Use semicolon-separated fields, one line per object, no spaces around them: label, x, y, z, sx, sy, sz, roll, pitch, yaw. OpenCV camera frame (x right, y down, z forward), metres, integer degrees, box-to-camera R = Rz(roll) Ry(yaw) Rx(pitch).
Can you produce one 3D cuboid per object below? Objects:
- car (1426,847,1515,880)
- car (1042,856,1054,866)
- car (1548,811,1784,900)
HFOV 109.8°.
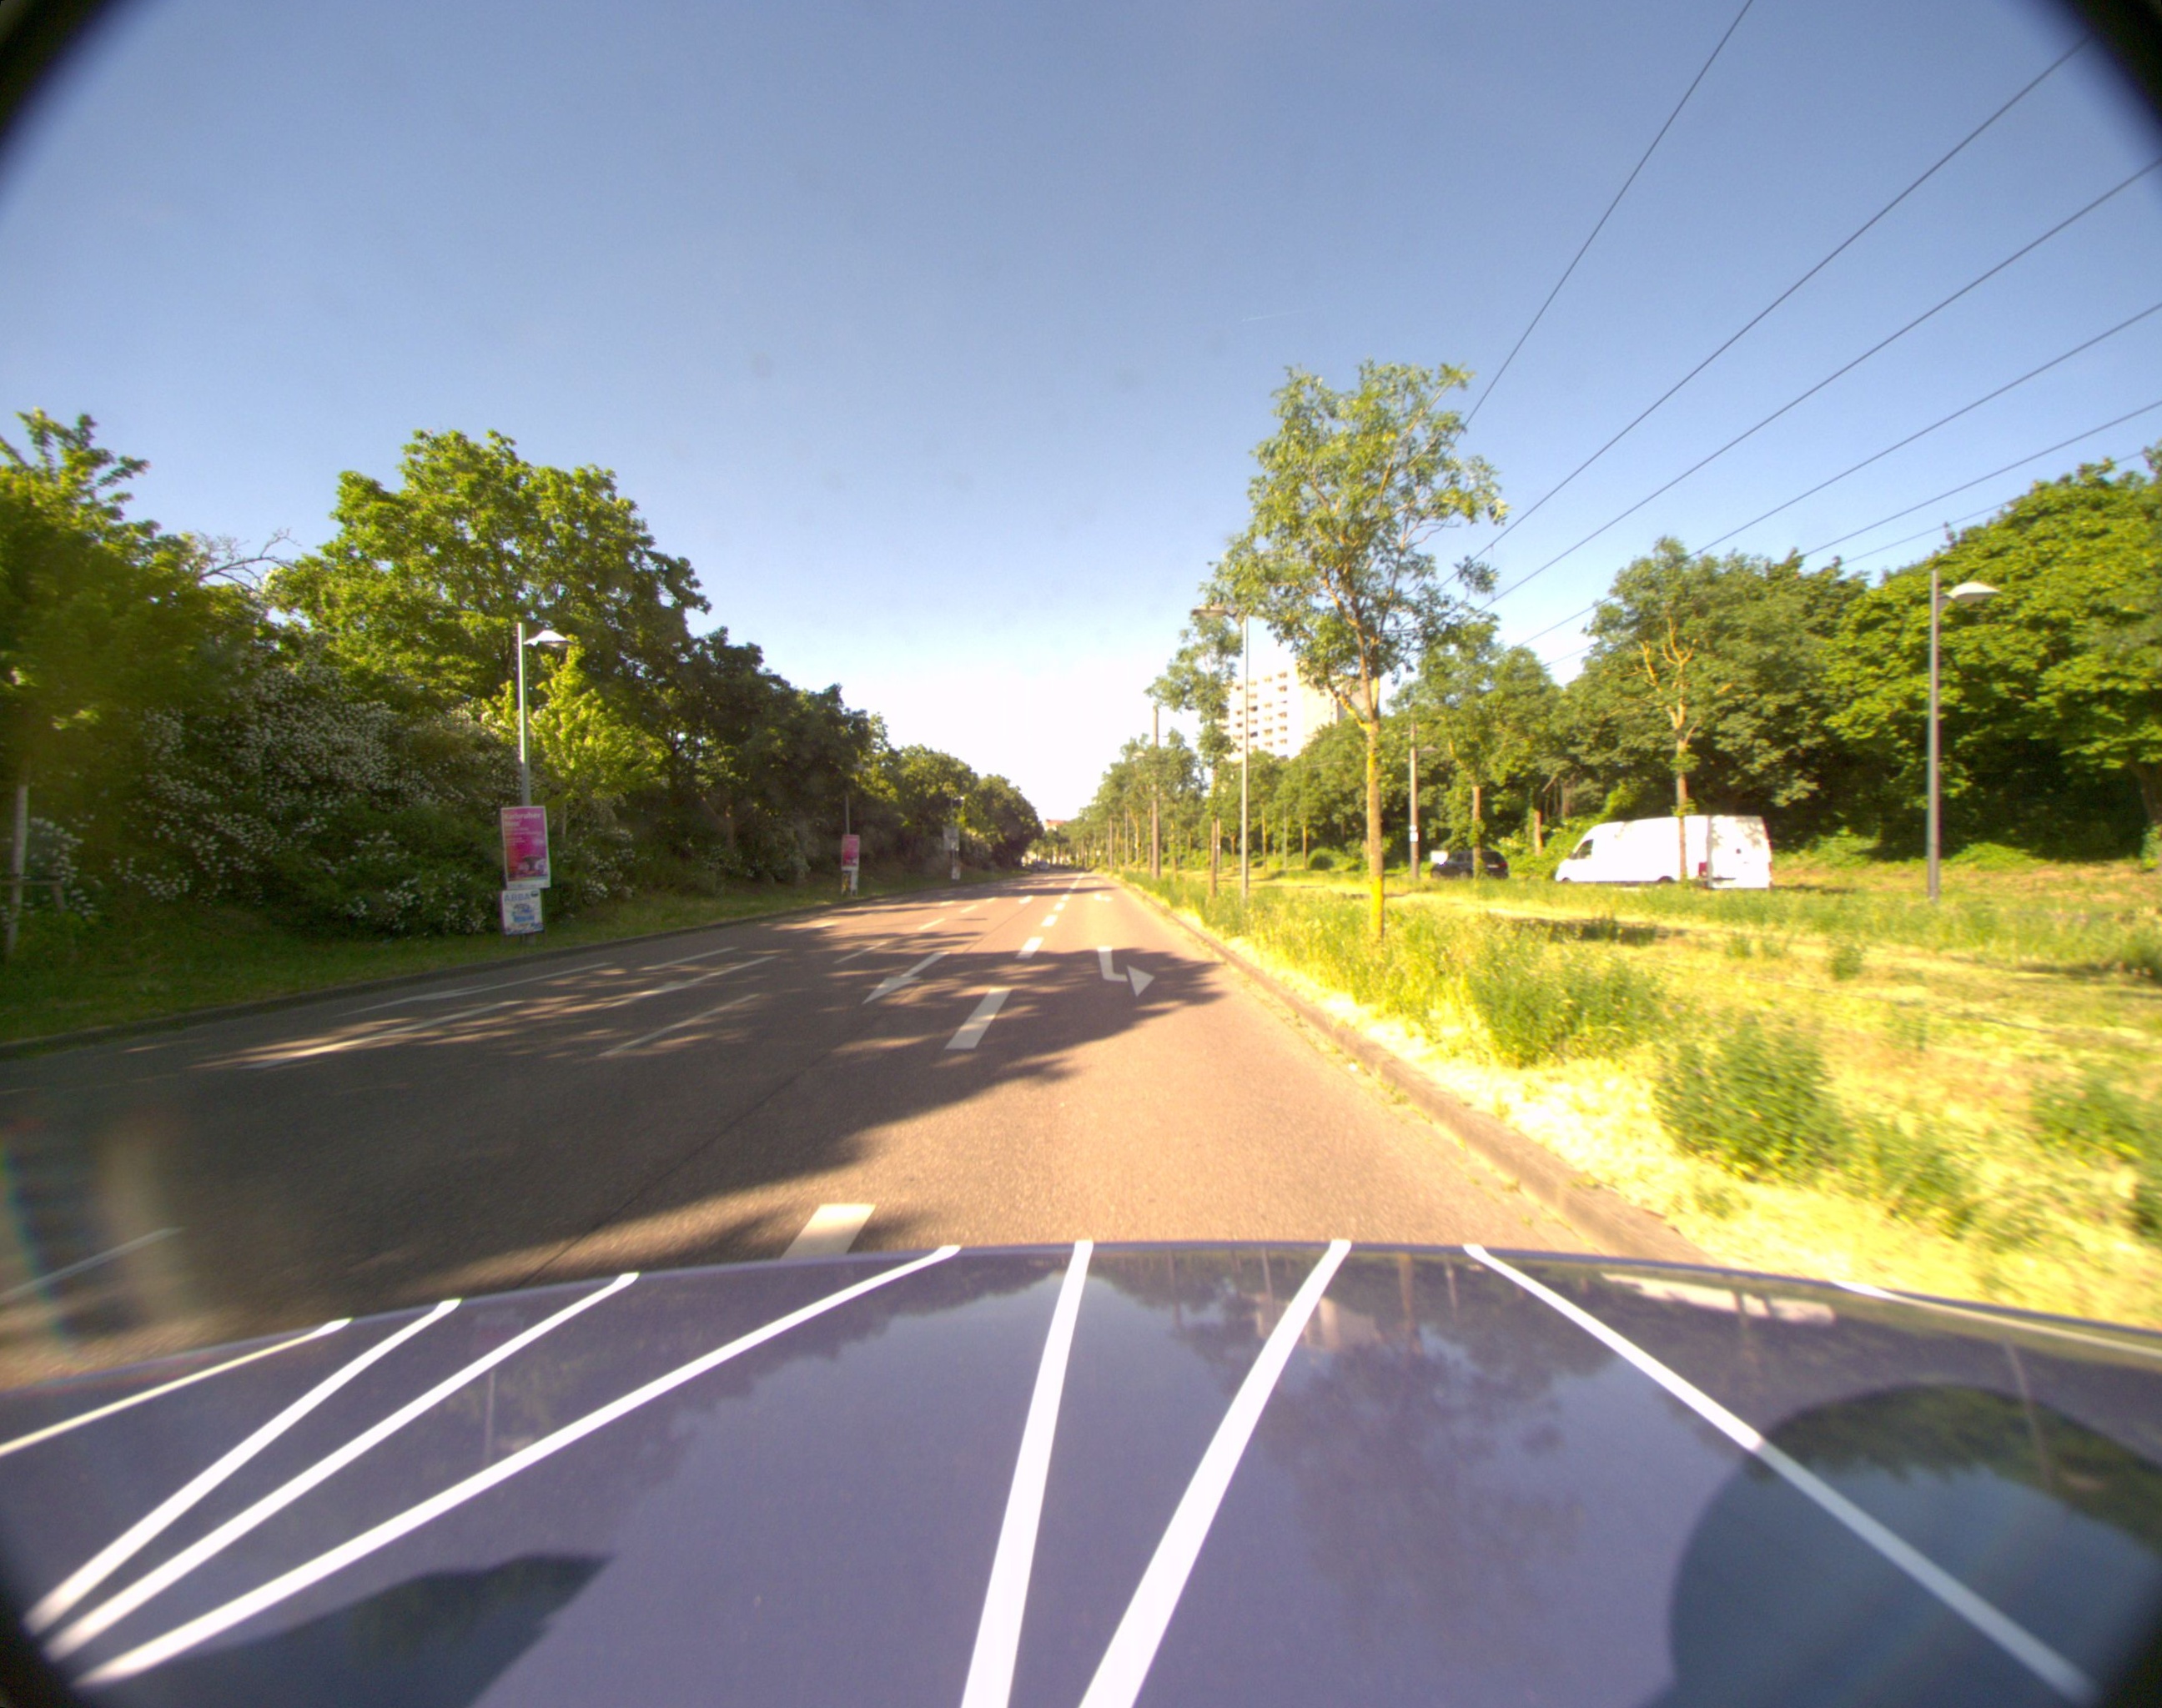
car;20.243;0.465;39.781;1.998;1.575;5.272;-2;0;1
car;-5.309;1.081;123.275;1.673;1.531;4.060;-4;0;1
car;17.863;0.038;23.901;2.045;2.355;6.880;-2;0;0
